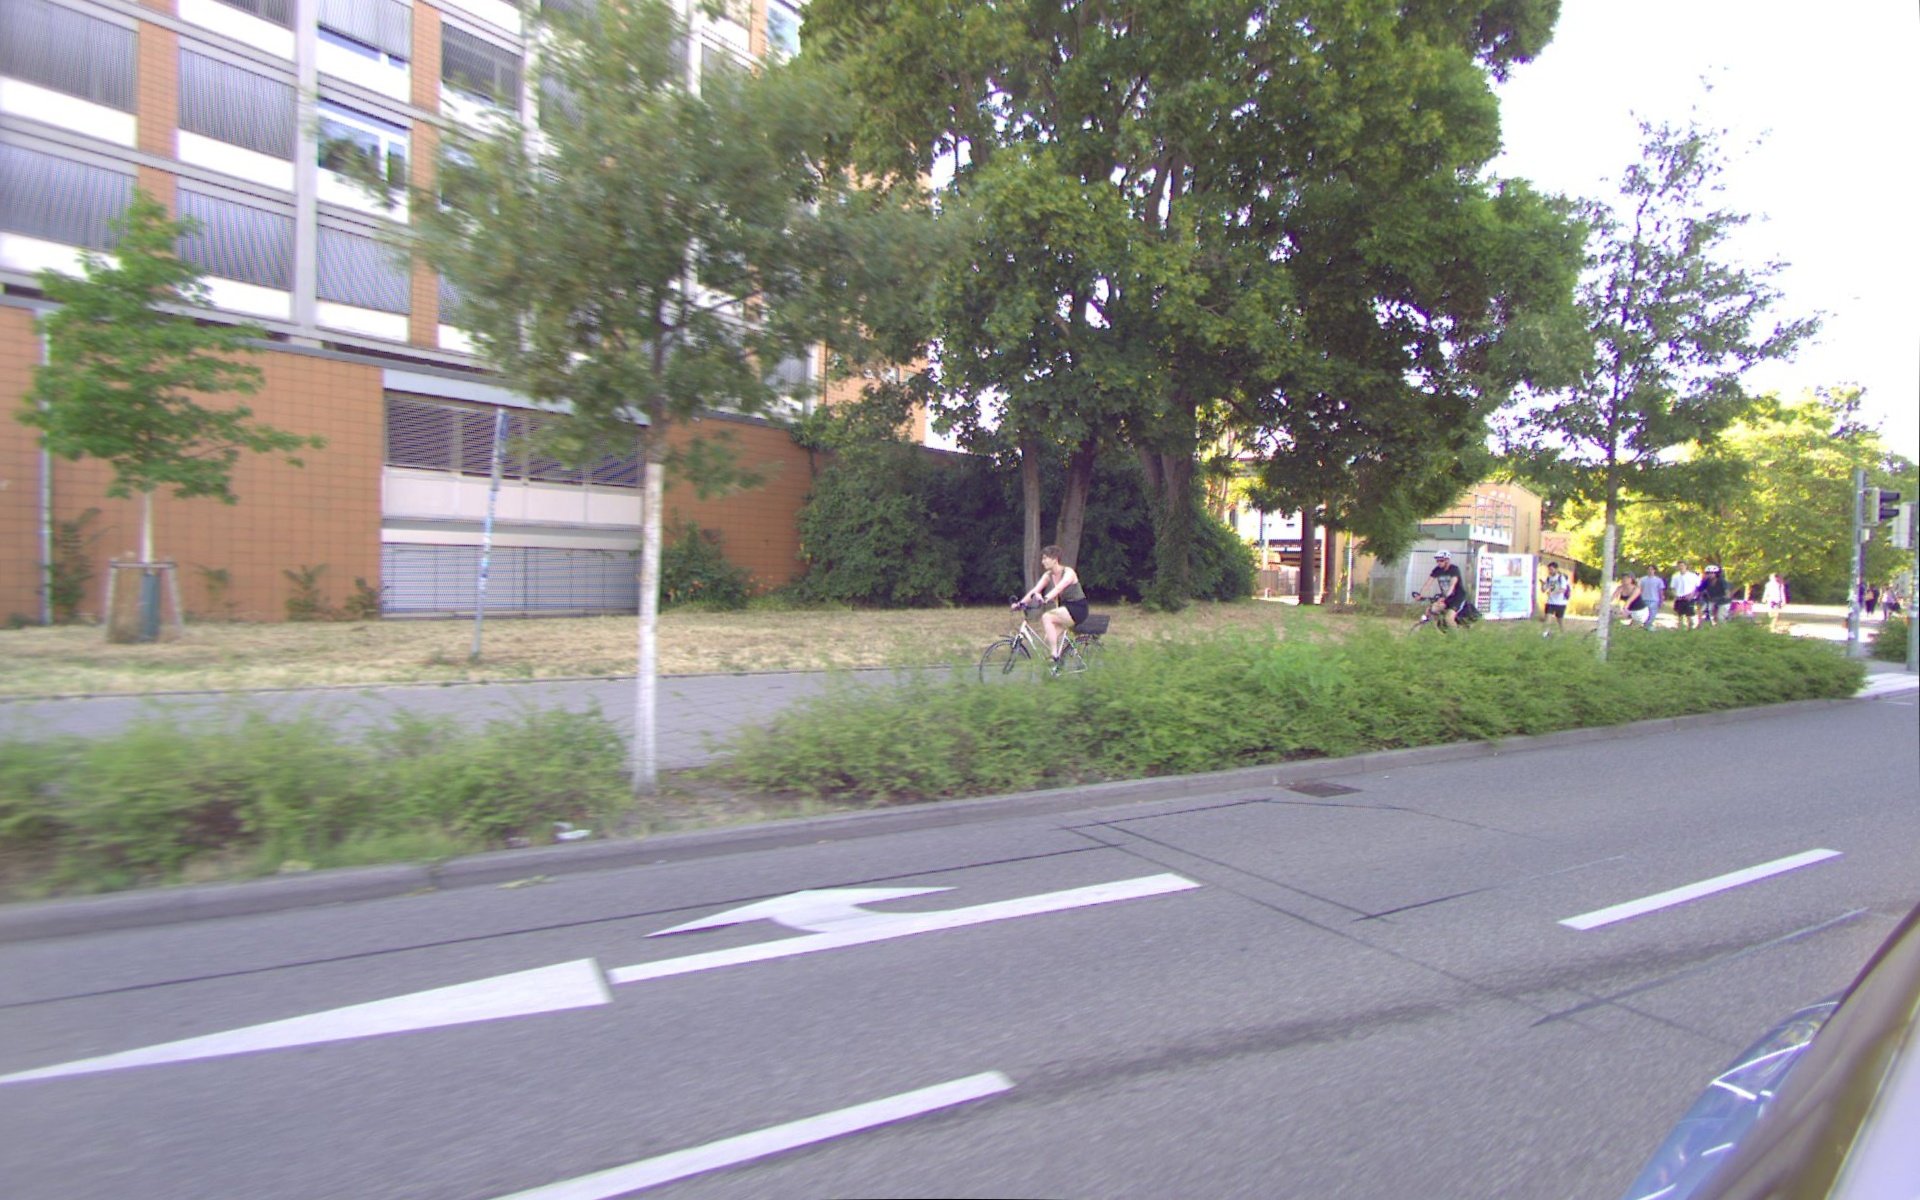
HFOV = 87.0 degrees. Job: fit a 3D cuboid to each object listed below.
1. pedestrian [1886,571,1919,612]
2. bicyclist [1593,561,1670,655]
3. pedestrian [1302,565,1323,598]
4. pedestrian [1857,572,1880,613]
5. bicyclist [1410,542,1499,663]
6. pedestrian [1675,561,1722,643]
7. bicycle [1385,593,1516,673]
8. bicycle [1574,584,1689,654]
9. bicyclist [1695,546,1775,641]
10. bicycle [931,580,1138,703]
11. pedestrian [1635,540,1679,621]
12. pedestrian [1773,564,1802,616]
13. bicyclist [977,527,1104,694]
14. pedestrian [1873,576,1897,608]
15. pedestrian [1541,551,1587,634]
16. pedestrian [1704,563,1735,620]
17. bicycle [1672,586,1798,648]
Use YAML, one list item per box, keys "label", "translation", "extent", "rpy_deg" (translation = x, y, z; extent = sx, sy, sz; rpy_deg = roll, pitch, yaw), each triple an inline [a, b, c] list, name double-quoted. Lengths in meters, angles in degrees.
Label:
- label: "pedestrian"
  translation: [42.026, -0.375, 45.073]
  extent: [1.013, 1.770, 0.838]
  rpy_deg: [3, 2, 37]
- label: "bicyclist"
  translation: [11.621, 0.137, 17.528]
  extent: [0.832, 1.568, 0.719]
  rpy_deg: [2, 0, -22]
- label: "pedestrian"
  translation: [22.065, -1.187, 63.279]
  extent: [0.853, 2.038, 0.899]
  rpy_deg: [0, 2, -41]
- label: "pedestrian"
  translation: [39.925, -0.332, 44.467]
  extent: [0.710, 1.734, 0.723]
  rpy_deg: [3, 2, 42]
- label: "bicyclist"
  translation: [7.891, 0.023, 16.164]
  extent: [1.072, 1.853, 0.781]
  rpy_deg: [0, 2, -32]
- label: "pedestrian"
  translation: [17.335, 0.029, 23.772]
  extent: [0.611, 1.892, 0.576]
  rpy_deg: [1, 2, 3]
- label: "bicycle"
  translation: [7.843, 0.493, 16.151]
  extent: [2.246, 1.170, 0.781]
  rpy_deg: [0, 2, -32]
- label: "bicycle"
  translation: [11.641, 0.330, 17.547]
  extent: [1.829, 1.135, 0.721]
  rpy_deg: [2, 0, -22]
- label: "bicyclist"
  translation: [15.652, -0.142, 20.450]
  extent: [1.070, 1.856, 0.782]
  rpy_deg: [0, 2, -21]
- label: "bicycle"
  translation: [0.848, 0.398, 11.075]
  extent: [2.248, 1.169, 0.781]
  rpy_deg: [-1, 5, -36]
- label: "pedestrian"
  translation: [16.716, -0.474, 24.282]
  extent: [0.611, 1.892, 0.576]
  rpy_deg: [1, 2, 3]
- label: "pedestrian"
  translation: [27.655, -0.341, 33.830]
  extent: [0.672, 1.725, 0.865]
  rpy_deg: [2, 2, 37]
- label: "bicyclist"
  translation: [0.874, 0.081, 11.017]
  extent: [1.073, 1.697, 0.781]
  rpy_deg: [-1, 5, -36]
- label: "pedestrian"
  translation: [46.089, -0.393, 50.428]
  extent: [0.759, 1.562, 0.836]
  rpy_deg: [3, 2, 37]
- label: "pedestrian"
  translation: [12.840, -0.175, 21.507]
  extent: [0.619, 1.720, 0.622]
  rpy_deg: [0, 2, -39]
- label: "pedestrian"
  translation: [21.737, -0.259, 28.970]
  extent: [0.620, 1.594, 0.629]
  rpy_deg: [3, 2, 42]
- label: "bicycle"
  translation: [15.679, 0.334, 20.474]
  extent: [2.526, 1.170, 0.782]
  rpy_deg: [0, 2, -21]
